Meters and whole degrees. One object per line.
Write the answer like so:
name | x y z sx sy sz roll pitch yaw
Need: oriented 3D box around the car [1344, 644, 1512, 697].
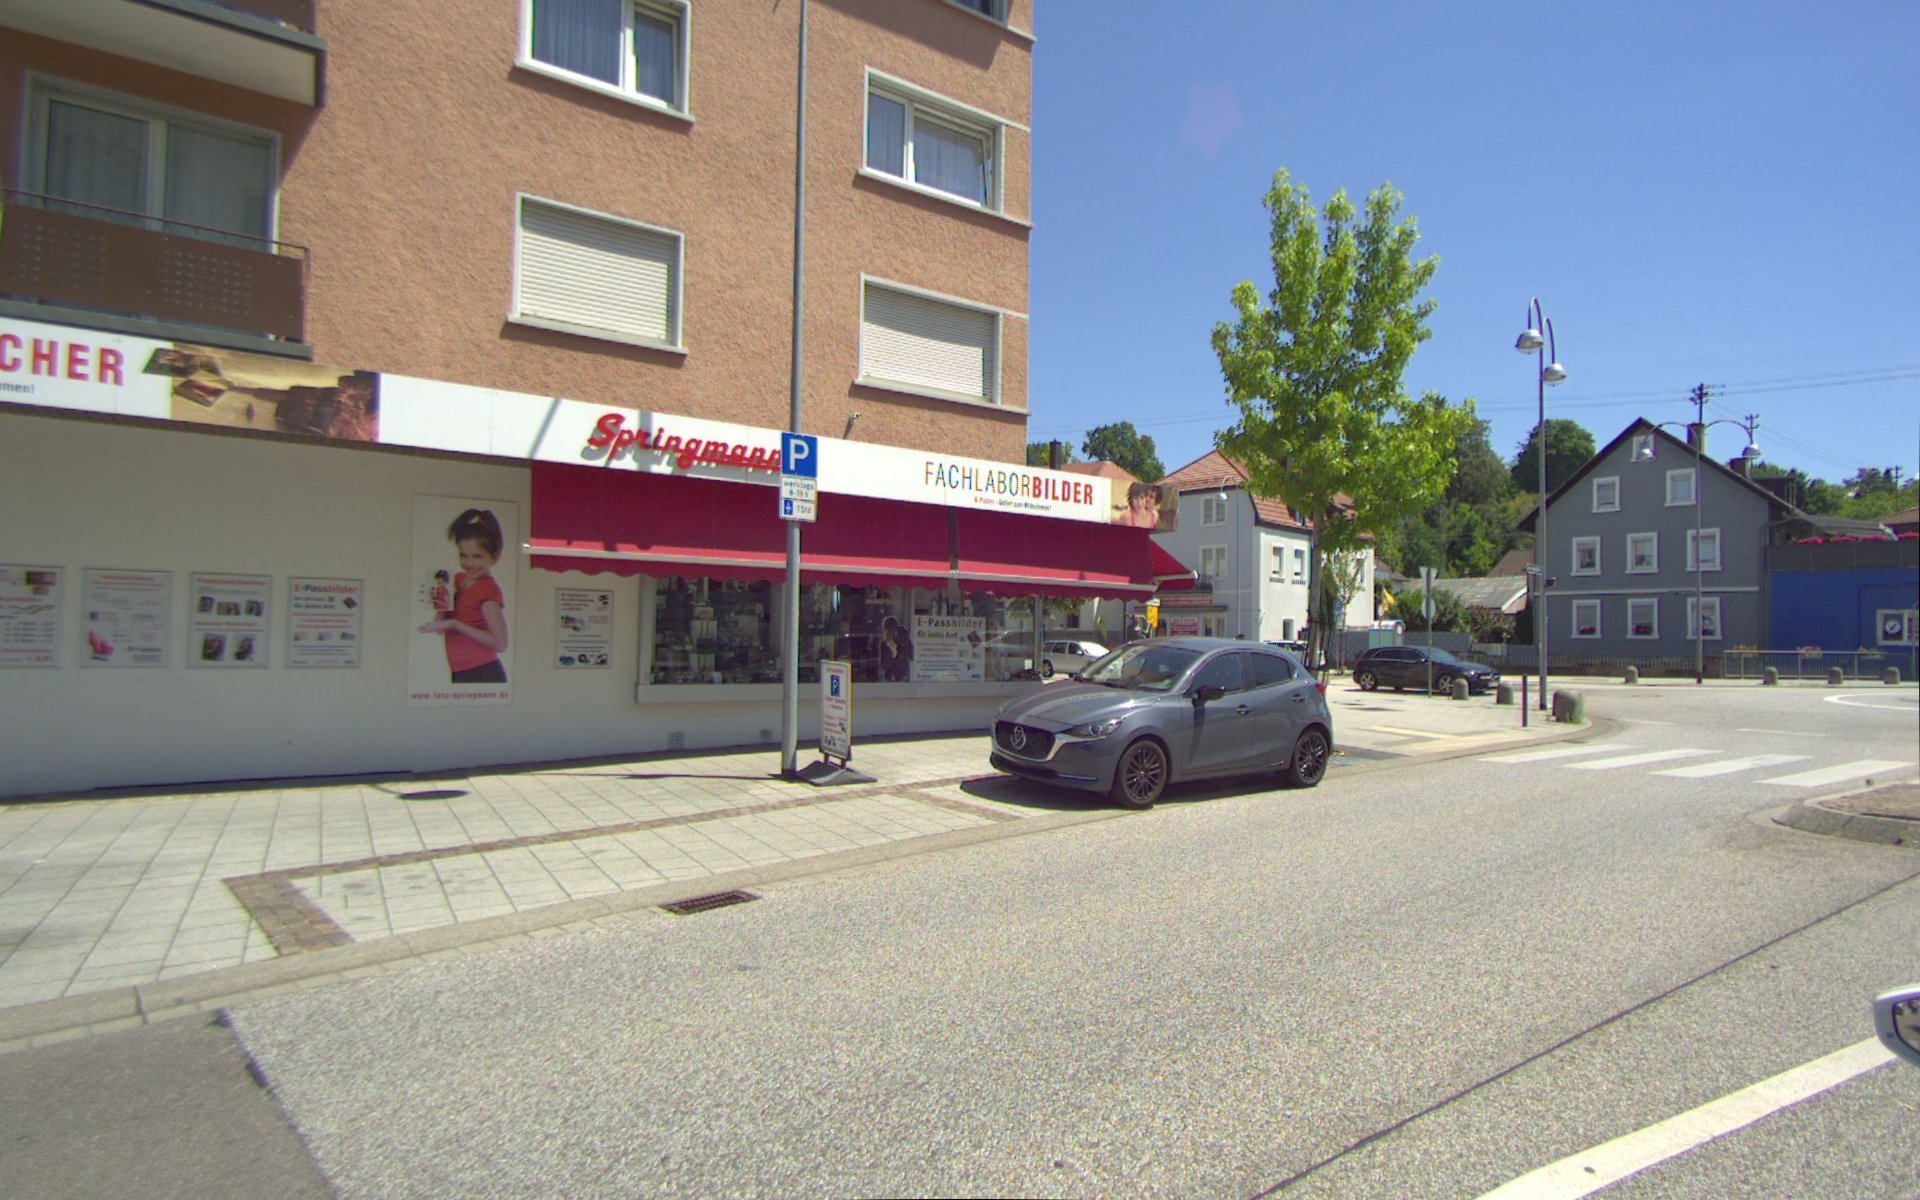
car | 14.320 2.120 30.958 1.753 1.476 4.391 2 -3 -37

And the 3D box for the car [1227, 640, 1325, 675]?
car | 14.457 2.601 46.074 4.018 1.410 1.601 -1 0 41

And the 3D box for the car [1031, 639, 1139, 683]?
car | 4.719 2.294 38.326 1.782 1.544 3.953 2 -2 -40

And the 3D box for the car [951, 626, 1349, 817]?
car | 2.028 1.065 10.146 4.023 1.506 1.654 2 0 -37
